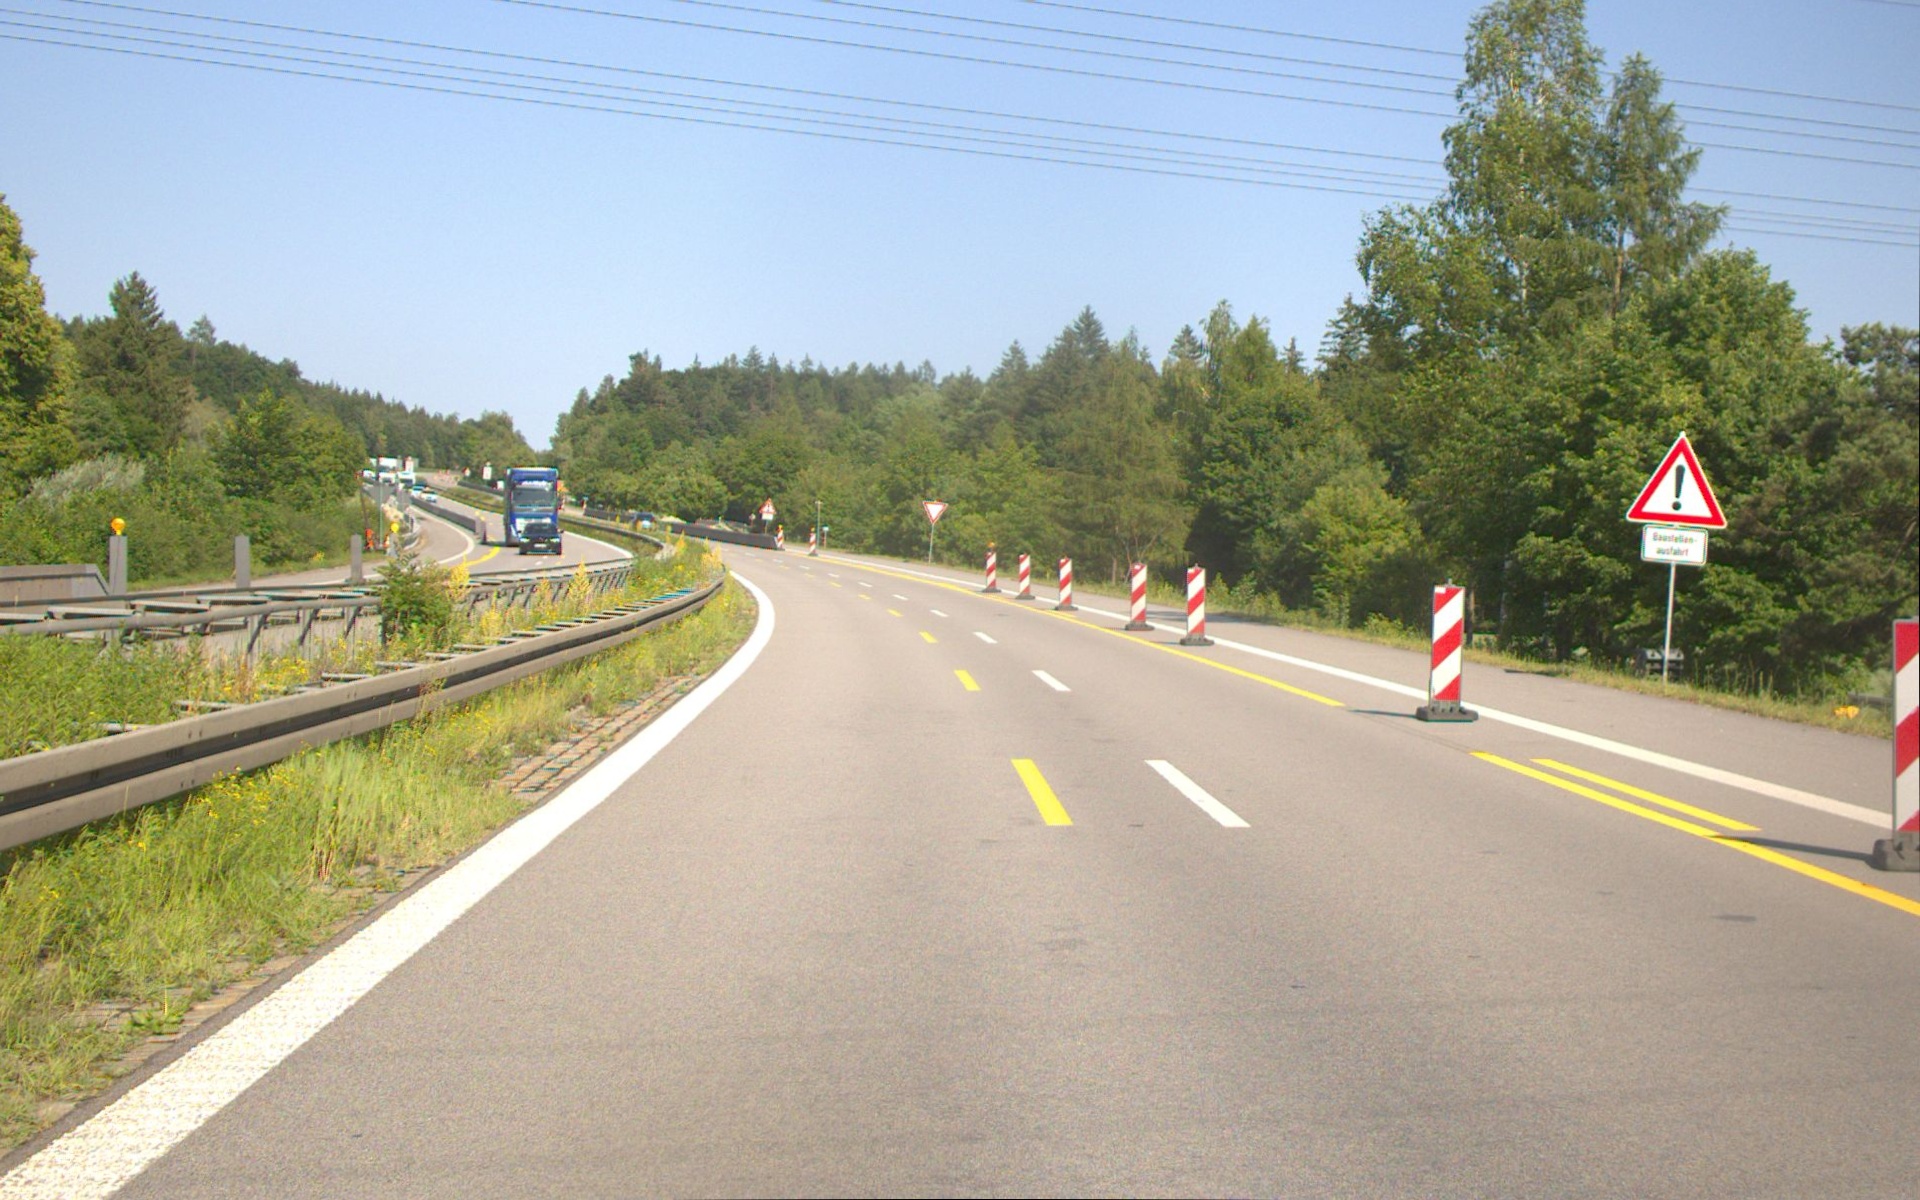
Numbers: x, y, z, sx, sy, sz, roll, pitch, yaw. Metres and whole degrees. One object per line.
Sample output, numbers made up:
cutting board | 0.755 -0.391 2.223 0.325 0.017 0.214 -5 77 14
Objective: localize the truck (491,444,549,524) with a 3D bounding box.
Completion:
truck | -22.553 -5.917 176.324 2.632 3.946 5.844 1 1 -5

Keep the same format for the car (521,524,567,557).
car | -18.306 -2.637 151.340 1.777 1.424 4.270 0 1 -4
